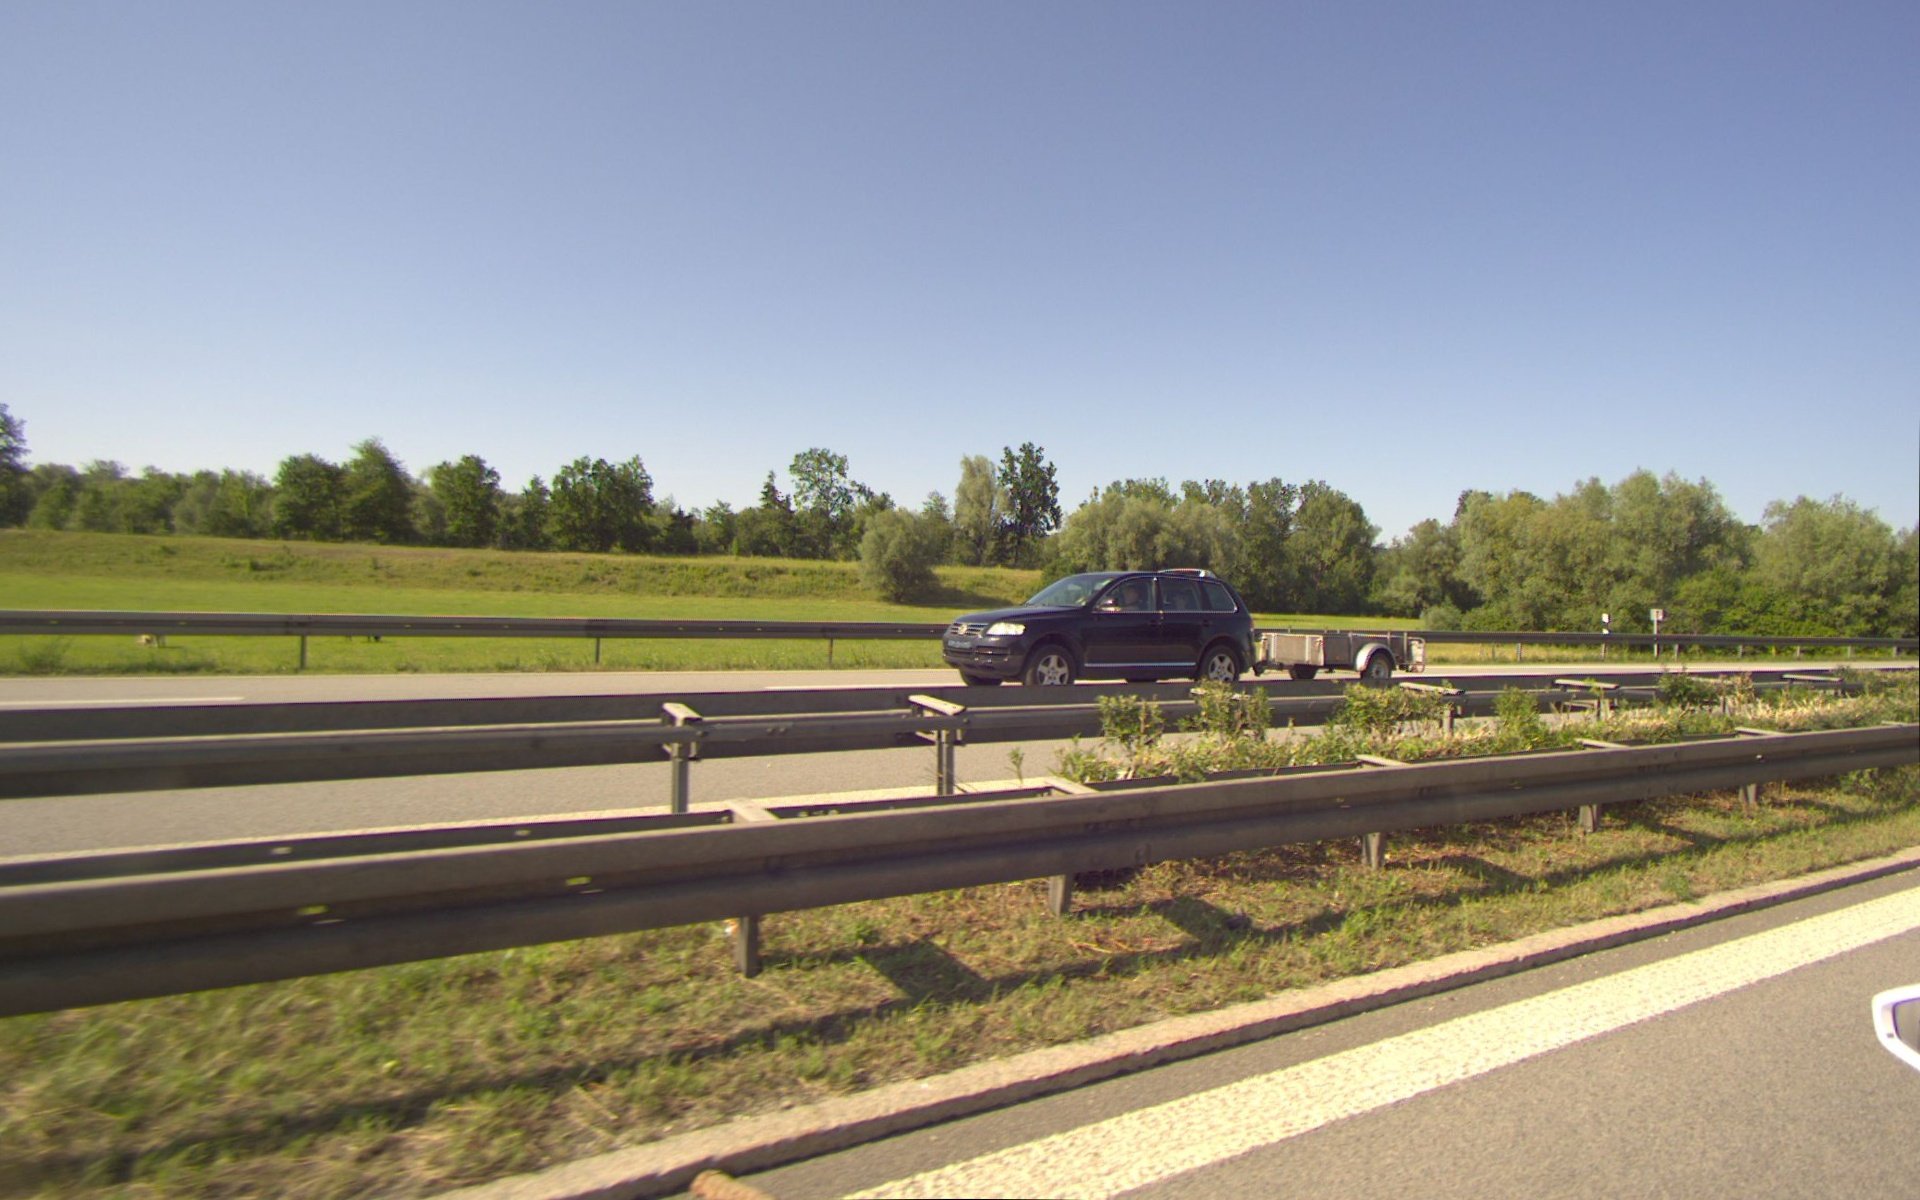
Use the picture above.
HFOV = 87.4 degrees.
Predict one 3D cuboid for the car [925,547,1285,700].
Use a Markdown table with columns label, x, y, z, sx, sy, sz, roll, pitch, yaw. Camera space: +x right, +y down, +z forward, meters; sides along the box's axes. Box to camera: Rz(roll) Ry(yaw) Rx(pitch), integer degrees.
| label | x | y | z | sx | sy | sz | roll | pitch | yaw |
| --- | --- | --- | --- | --- | --- | --- | --- | --- | --- |
| car | 2.085 | 0.347 | 13.981 | 4.811 | 1.827 | 1.841 | 2 | -1 | -29 |

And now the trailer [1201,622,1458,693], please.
| label | x | y | z | sx | sy | sz | roll | pitch | yaw |
| --- | --- | --- | --- | --- | --- | --- | --- | --- | --- |
| trailer | 5.983 | 0.888 | 16.182 | 3.972 | 0.949 | 1.734 | 1 | 0 | -29 |
